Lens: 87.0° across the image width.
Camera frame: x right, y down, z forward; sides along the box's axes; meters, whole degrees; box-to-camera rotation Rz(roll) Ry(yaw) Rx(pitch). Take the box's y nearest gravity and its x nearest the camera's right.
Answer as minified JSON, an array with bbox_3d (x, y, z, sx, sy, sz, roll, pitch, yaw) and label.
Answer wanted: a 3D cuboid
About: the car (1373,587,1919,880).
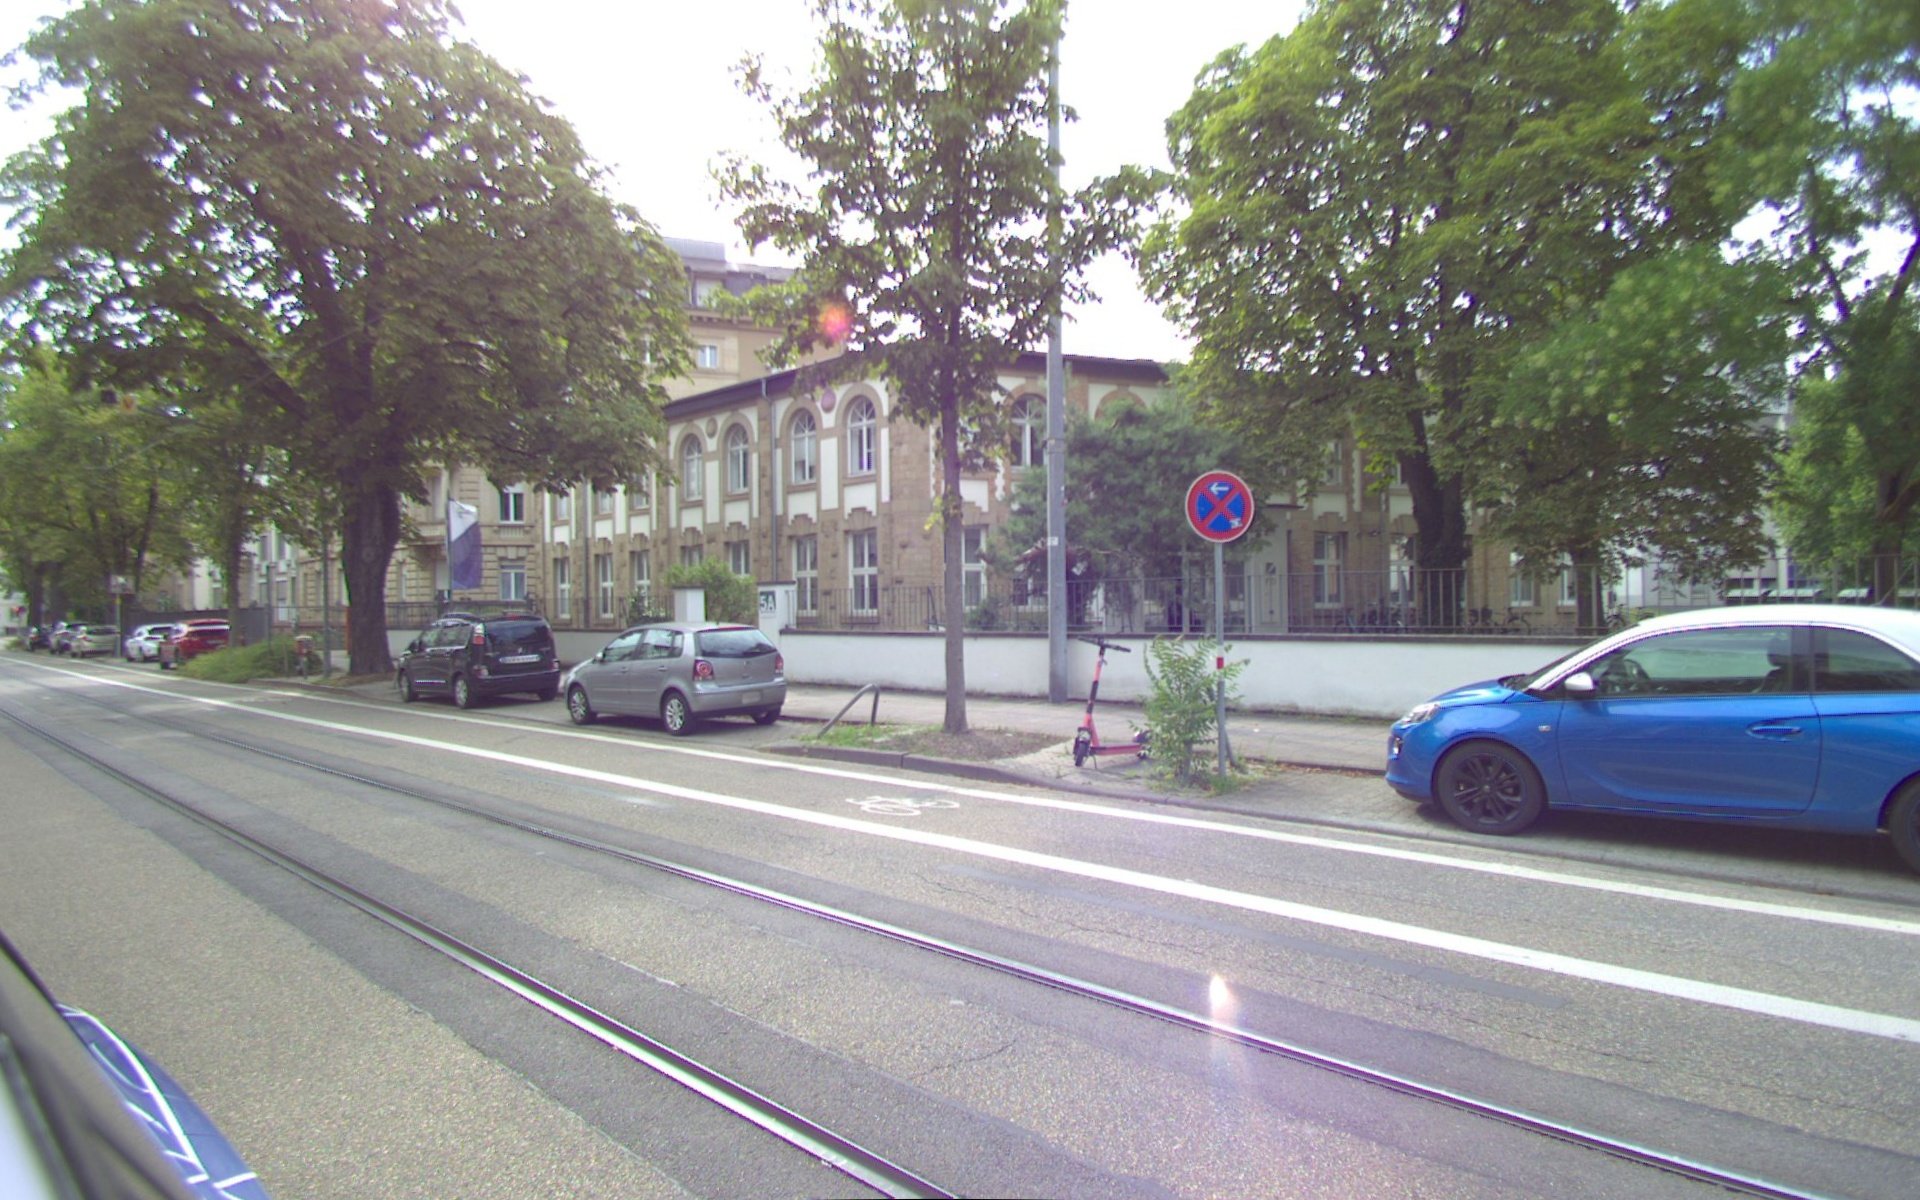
[{"bbox_3d":[4.831,0.706,6.503,3.675,1.498,1.675,-2,0,41],"label":"car"}]

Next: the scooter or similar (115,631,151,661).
[{"bbox_3d":[-34.629,1.926,42.391,1.313,1.232,0.559,-1,-1,19],"label":"scooter or similar"}]

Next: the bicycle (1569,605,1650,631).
[{"bbox_3d":[20.608,0.571,32.154,0.702,0.779,2.053,-2,0,-28],"label":"bicycle"}]

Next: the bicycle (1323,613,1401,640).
[{"bbox_3d":[11.309,0.742,28.541,0.702,0.713,2.053,-2,0,-28],"label":"bicycle"}]

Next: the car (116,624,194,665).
[{"bbox_3d":[-32.128,1.748,40.355,4.021,1.434,1.704,-2,1,41],"label":"car"}]

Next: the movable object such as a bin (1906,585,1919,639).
[{"bbox_3d":[25.264,0.300,26.023,0.846,1.385,1.097,-2,0,-22],"label":"movable object such as a bin"}]

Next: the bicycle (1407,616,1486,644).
[{"bbox_3d":[14.262,0.875,29.701,0.702,0.779,2.053,-2,0,-28],"label":"bicycle"}]

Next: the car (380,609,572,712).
[{"bbox_3d":[-9.057,1.055,18.807,4.050,1.659,1.737,-2,0,41],"label":"car"}]

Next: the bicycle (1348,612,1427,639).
[{"bbox_3d":[12.178,0.716,28.898,0.702,0.713,2.053,-2,0,-28],"label":"bicycle"}]

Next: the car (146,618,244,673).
[{"bbox_3d":[-25.908,1.500,34.230,4.540,1.667,1.704,-2,1,41],"label":"car"}]

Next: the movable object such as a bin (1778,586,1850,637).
[{"bbox_3d":[24.248,0.333,28.749,0.954,1.385,1.208,-2,0,-22],"label":"movable object such as a bin"}]

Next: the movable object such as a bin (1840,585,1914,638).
[{"bbox_3d":[24.838,0.314,27.415,0.846,1.385,1.208,-2,0,-22],"label":"movable object such as a bin"}]

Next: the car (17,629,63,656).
[{"bbox_3d":[-54.490,2.484,59.927,4.166,1.435,1.701,-2,1,44],"label":"car"}]

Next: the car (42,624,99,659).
[{"bbox_3d":[-45.713,2.114,51.972,4.355,1.686,1.692,-2,-1,42],"label":"car"}]

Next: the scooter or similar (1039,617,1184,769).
[{"bbox_3d":[1.487,0.850,9.817,0.700,1.354,1.427,-2,-2,43],"label":"scooter or similar"}]

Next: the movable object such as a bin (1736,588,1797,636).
[{"bbox_3d":[23.841,0.347,29.932,0.954,1.385,1.024,-2,0,-22],"label":"movable object such as a bin"}]

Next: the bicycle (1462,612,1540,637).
[{"bbox_3d":[16.588,0.755,31.063,2.042,0.713,0.706,-2,0,35],"label":"bicycle"}]

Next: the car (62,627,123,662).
[{"bbox_3d":[-40.130,2.044,46.790,4.077,1.479,1.584,-2,-1,42],"label":"car"}]

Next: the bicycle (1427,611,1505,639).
[{"bbox_3d":[15.070,0.736,30.191,0.702,0.779,2.053,-2,0,-28],"label":"bicycle"}]

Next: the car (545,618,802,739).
[{"bbox_3d":[-4.152,1.014,14.377,3.866,1.438,1.675,-2,0,41],"label":"car"}]

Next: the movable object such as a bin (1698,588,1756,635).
[{"bbox_3d":[23.454,0.359,30.955,0.954,1.385,1.024,-2,0,-22],"label":"movable object such as a bin"}]
